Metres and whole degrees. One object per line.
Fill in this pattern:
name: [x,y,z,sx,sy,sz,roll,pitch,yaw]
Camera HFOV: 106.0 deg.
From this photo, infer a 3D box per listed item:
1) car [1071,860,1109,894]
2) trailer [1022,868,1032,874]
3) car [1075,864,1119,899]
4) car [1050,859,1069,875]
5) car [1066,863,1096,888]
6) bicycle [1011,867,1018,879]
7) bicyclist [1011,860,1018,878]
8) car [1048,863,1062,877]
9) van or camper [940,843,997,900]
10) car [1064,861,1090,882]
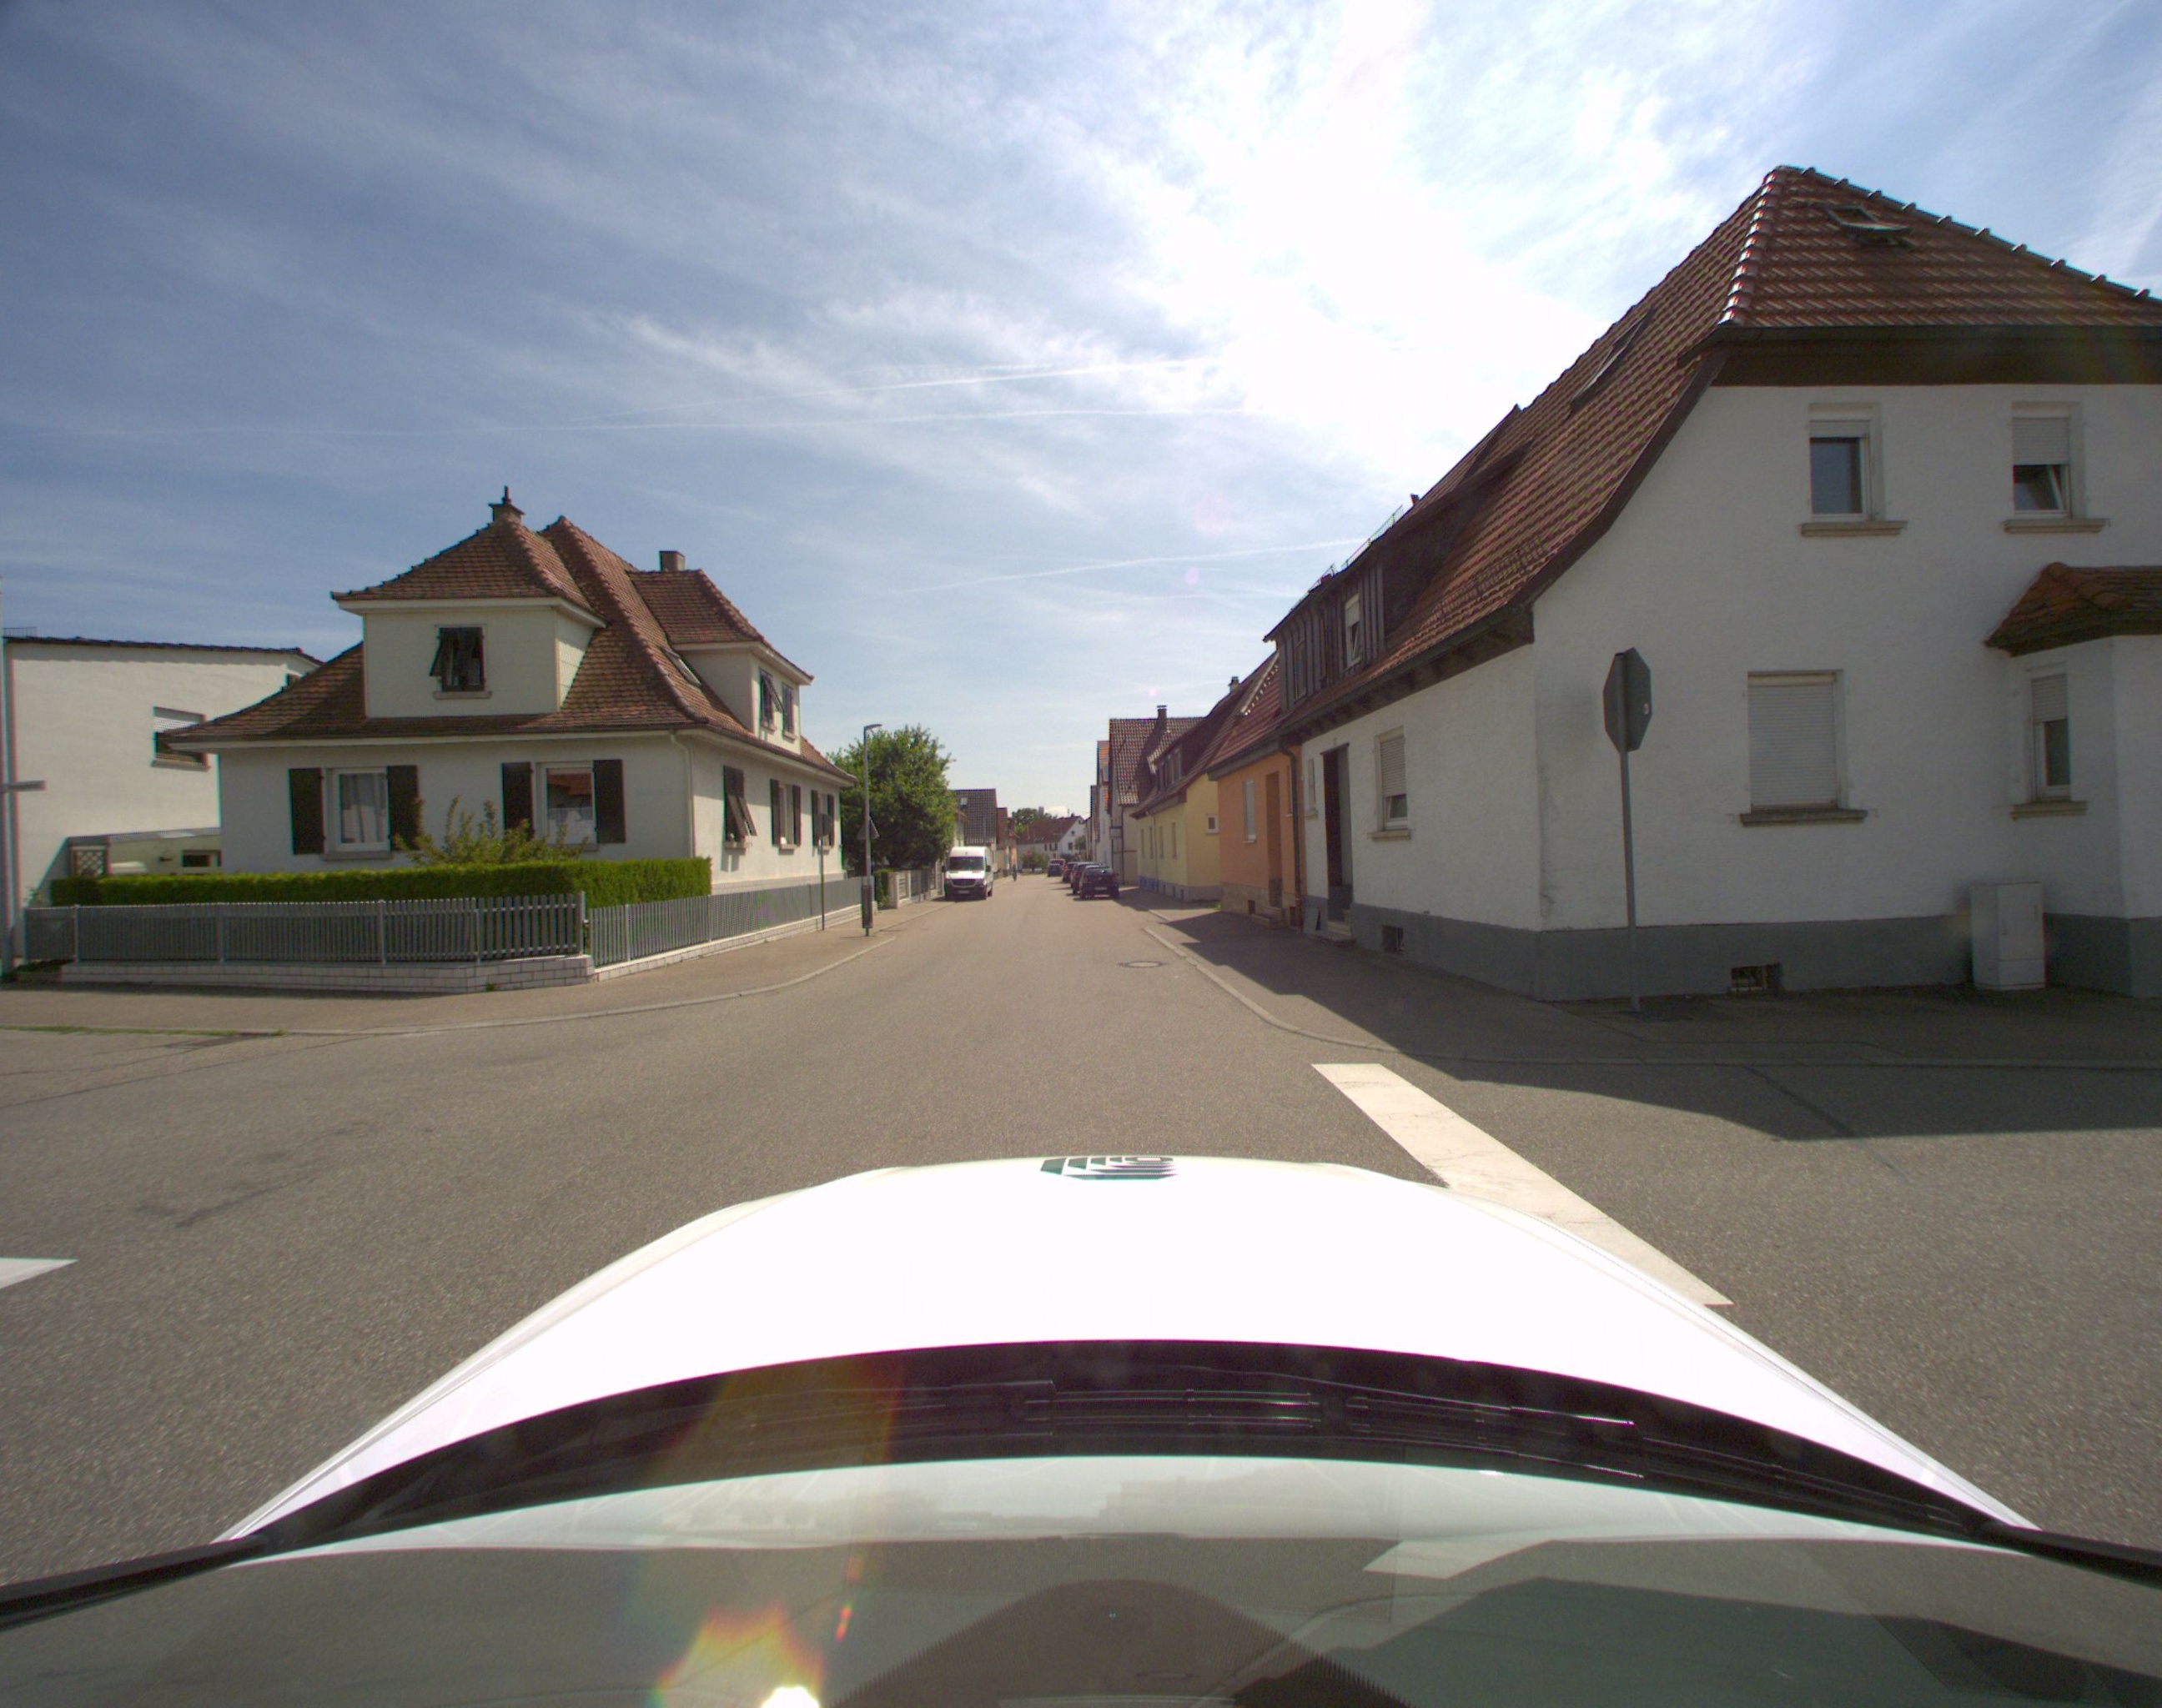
car: [0.405,1.132,41.324,1.724,1.600,4.250,-1,-1,-2]
trailer: [-8.474,2.750,128.813,1.497,0.927,1.012,0,-1,-1]
car: [0.652,1.173,35.775,1.608,1.431,3.748,-1,-1,-4]
car: [-3.013,1.772,113.439,2.119,2.158,4.741,-2,-1,4]
car: [-0.027,1.363,53.243,1.670,1.559,3.035,-1,-1,-4]
bicycle: [-6.643,1.925,81.409,0.669,1.132,2.186,-1,-1,-3]
bicyclist: [-6.636,1.532,81.460,0.712,1.799,0.940,-1,-1,-4]
car: [-3.134,1.923,99.323,1.510,1.567,3.185,-2,-1,1]
van or camper: [-5.529,0.832,41.000,2.179,2.572,6.800,-1,-1,-2]
car: [-0.405,1.436,68.194,1.872,1.700,4.176,-1,-1,-4]
